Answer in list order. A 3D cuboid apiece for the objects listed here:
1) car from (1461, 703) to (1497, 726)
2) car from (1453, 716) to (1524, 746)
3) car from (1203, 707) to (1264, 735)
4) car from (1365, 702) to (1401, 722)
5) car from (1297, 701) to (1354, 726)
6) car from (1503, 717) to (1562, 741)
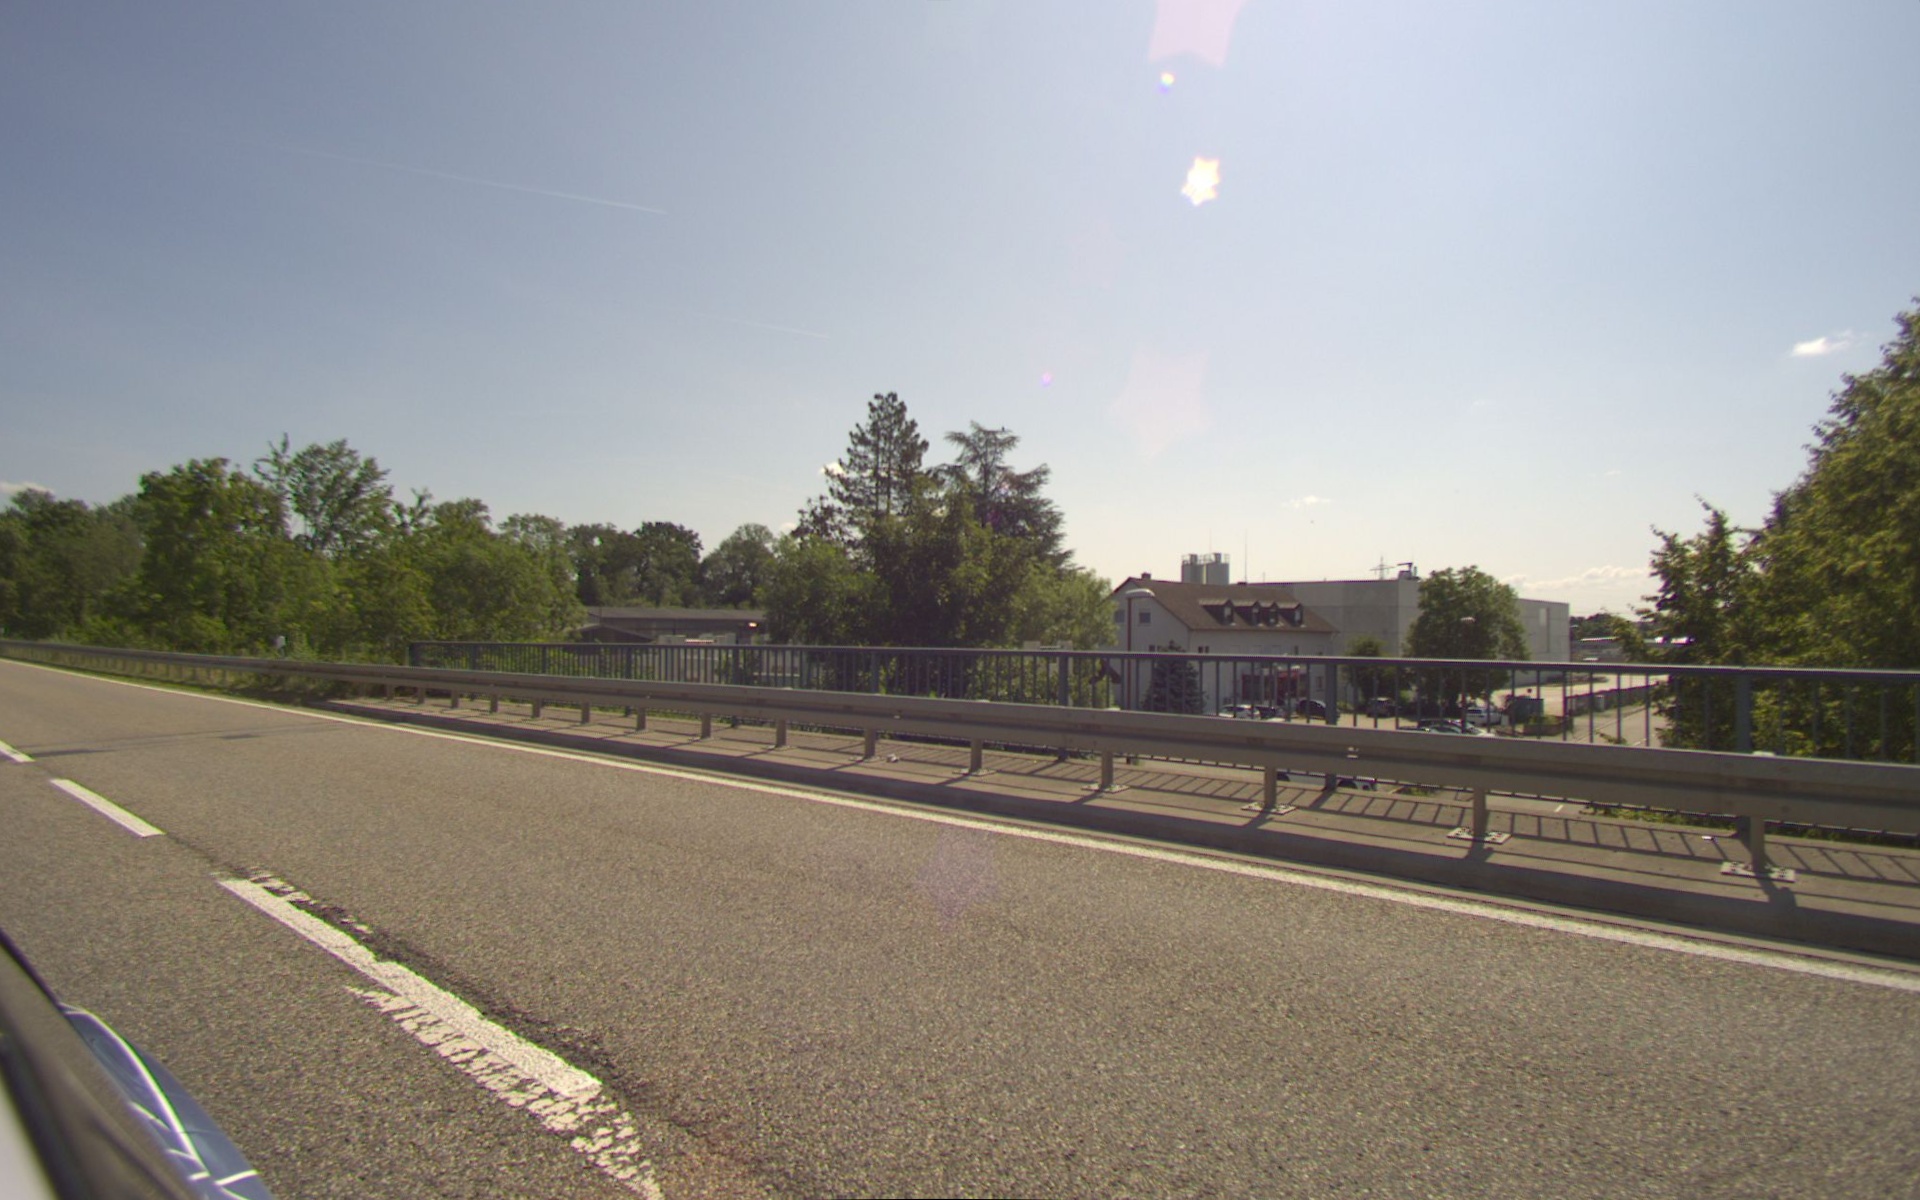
[{"bbox_3d":[41.114,9.032,80.089,1.705,1.639,3.528,-1,-4,42],"label":"car"},{"bbox_3d":[35.892,8.884,68.737,3.976,1.671,1.680,-1,-5,45],"label":"car"},{"bbox_3d":[20.042,8.840,74.216,3.976,1.696,1.680,-1,-5,45],"label":"car"},{"bbox_3d":[36.009,9.487,86.103,1.706,1.538,3.335,-1,-5,44],"label":"car"},{"bbox_3d":[29.474,9.139,81.688,3.976,1.671,1.680,-1,-5,45],"label":"car"},{"bbox_3d":[42.318,9.515,74.826,3.518,1.559,1.709,3,-3,-13],"label":"car"}]
